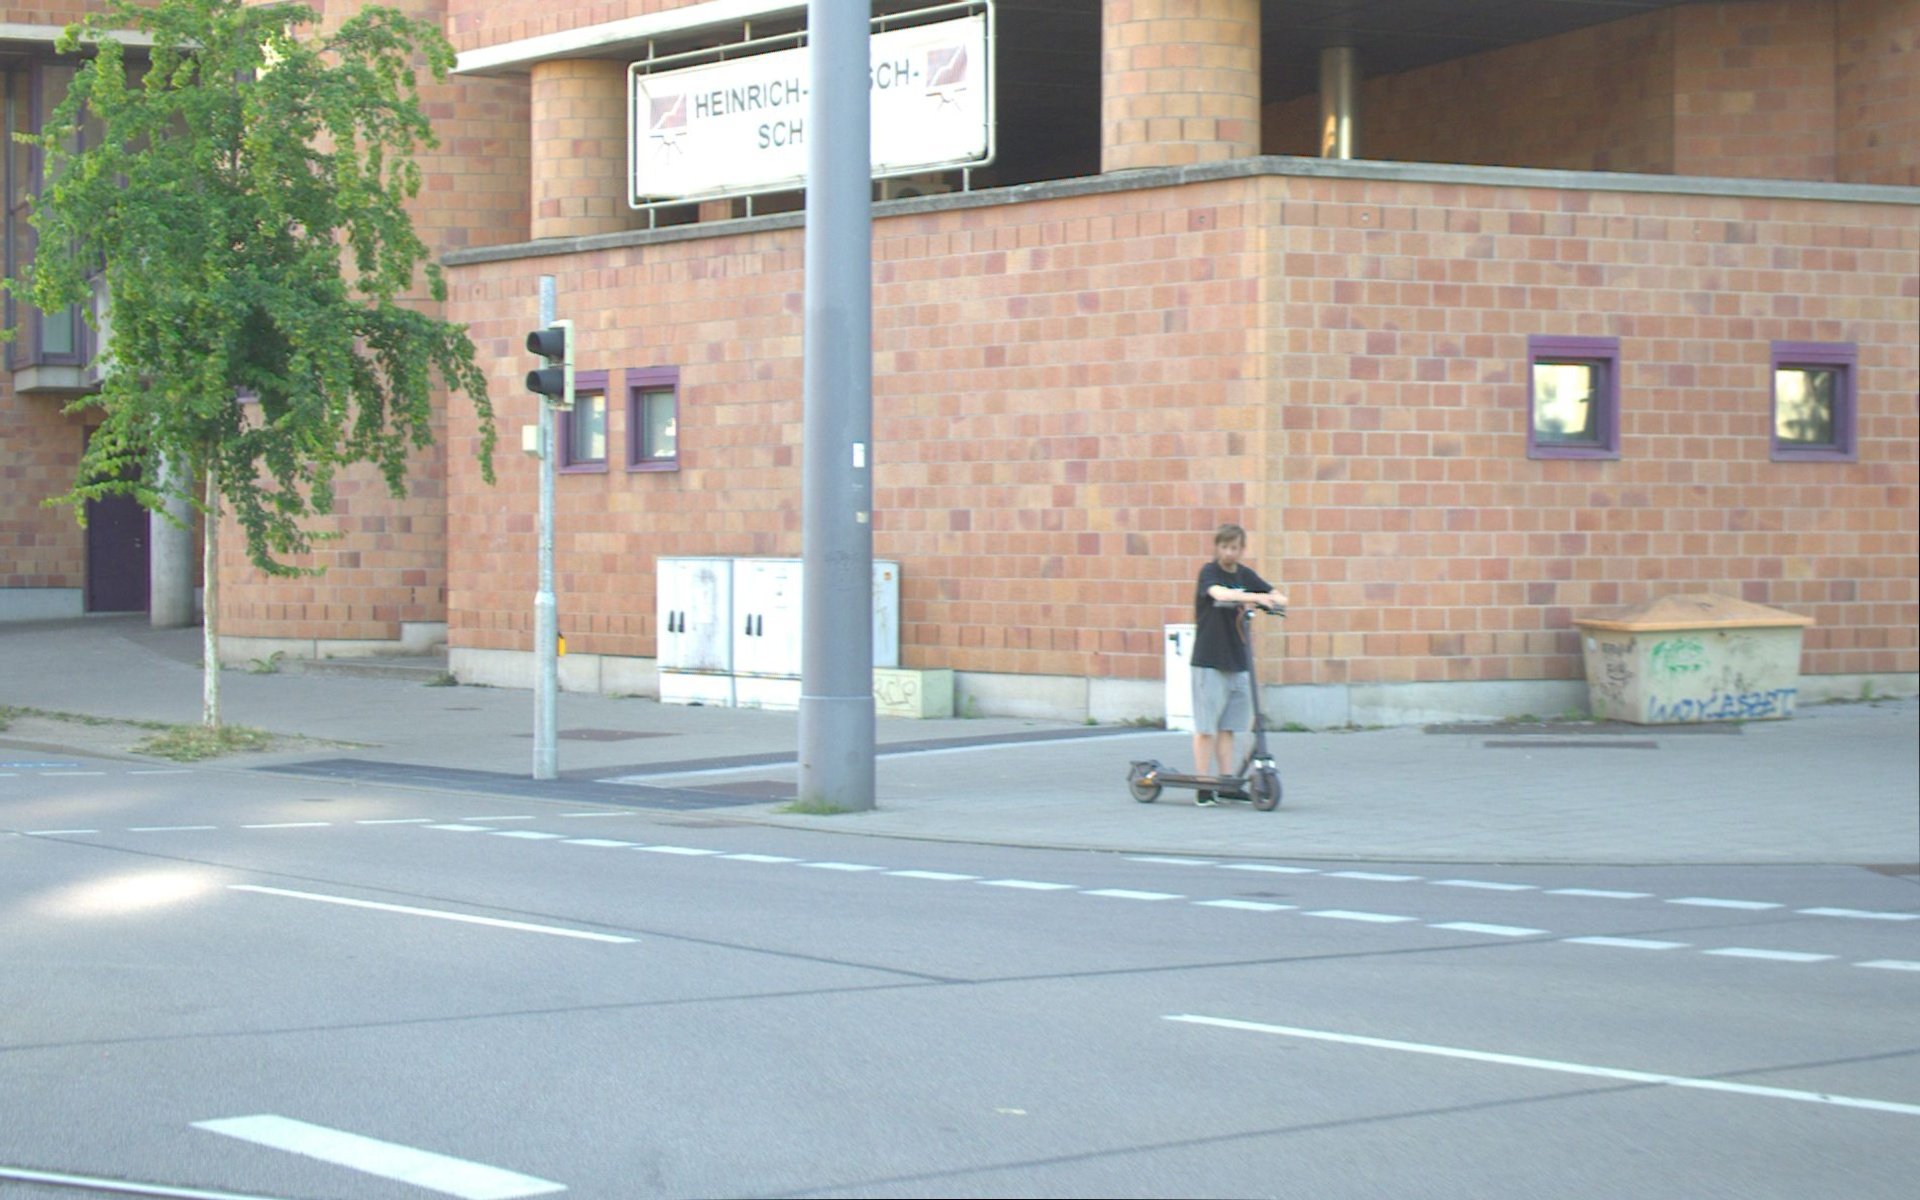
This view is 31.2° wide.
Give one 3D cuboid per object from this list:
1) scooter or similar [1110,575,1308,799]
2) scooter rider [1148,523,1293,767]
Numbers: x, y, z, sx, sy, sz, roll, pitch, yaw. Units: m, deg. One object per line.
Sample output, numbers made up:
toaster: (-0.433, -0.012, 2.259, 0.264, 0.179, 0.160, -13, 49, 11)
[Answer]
scooter or similar: (1.511, 0.509, 20.934, 1.132, 1.313, 0.528, 1, 1, 45)
scooter rider: (1.582, 0.259, 20.862, 0.506, 1.456, 0.721, -1, 1, -44)
